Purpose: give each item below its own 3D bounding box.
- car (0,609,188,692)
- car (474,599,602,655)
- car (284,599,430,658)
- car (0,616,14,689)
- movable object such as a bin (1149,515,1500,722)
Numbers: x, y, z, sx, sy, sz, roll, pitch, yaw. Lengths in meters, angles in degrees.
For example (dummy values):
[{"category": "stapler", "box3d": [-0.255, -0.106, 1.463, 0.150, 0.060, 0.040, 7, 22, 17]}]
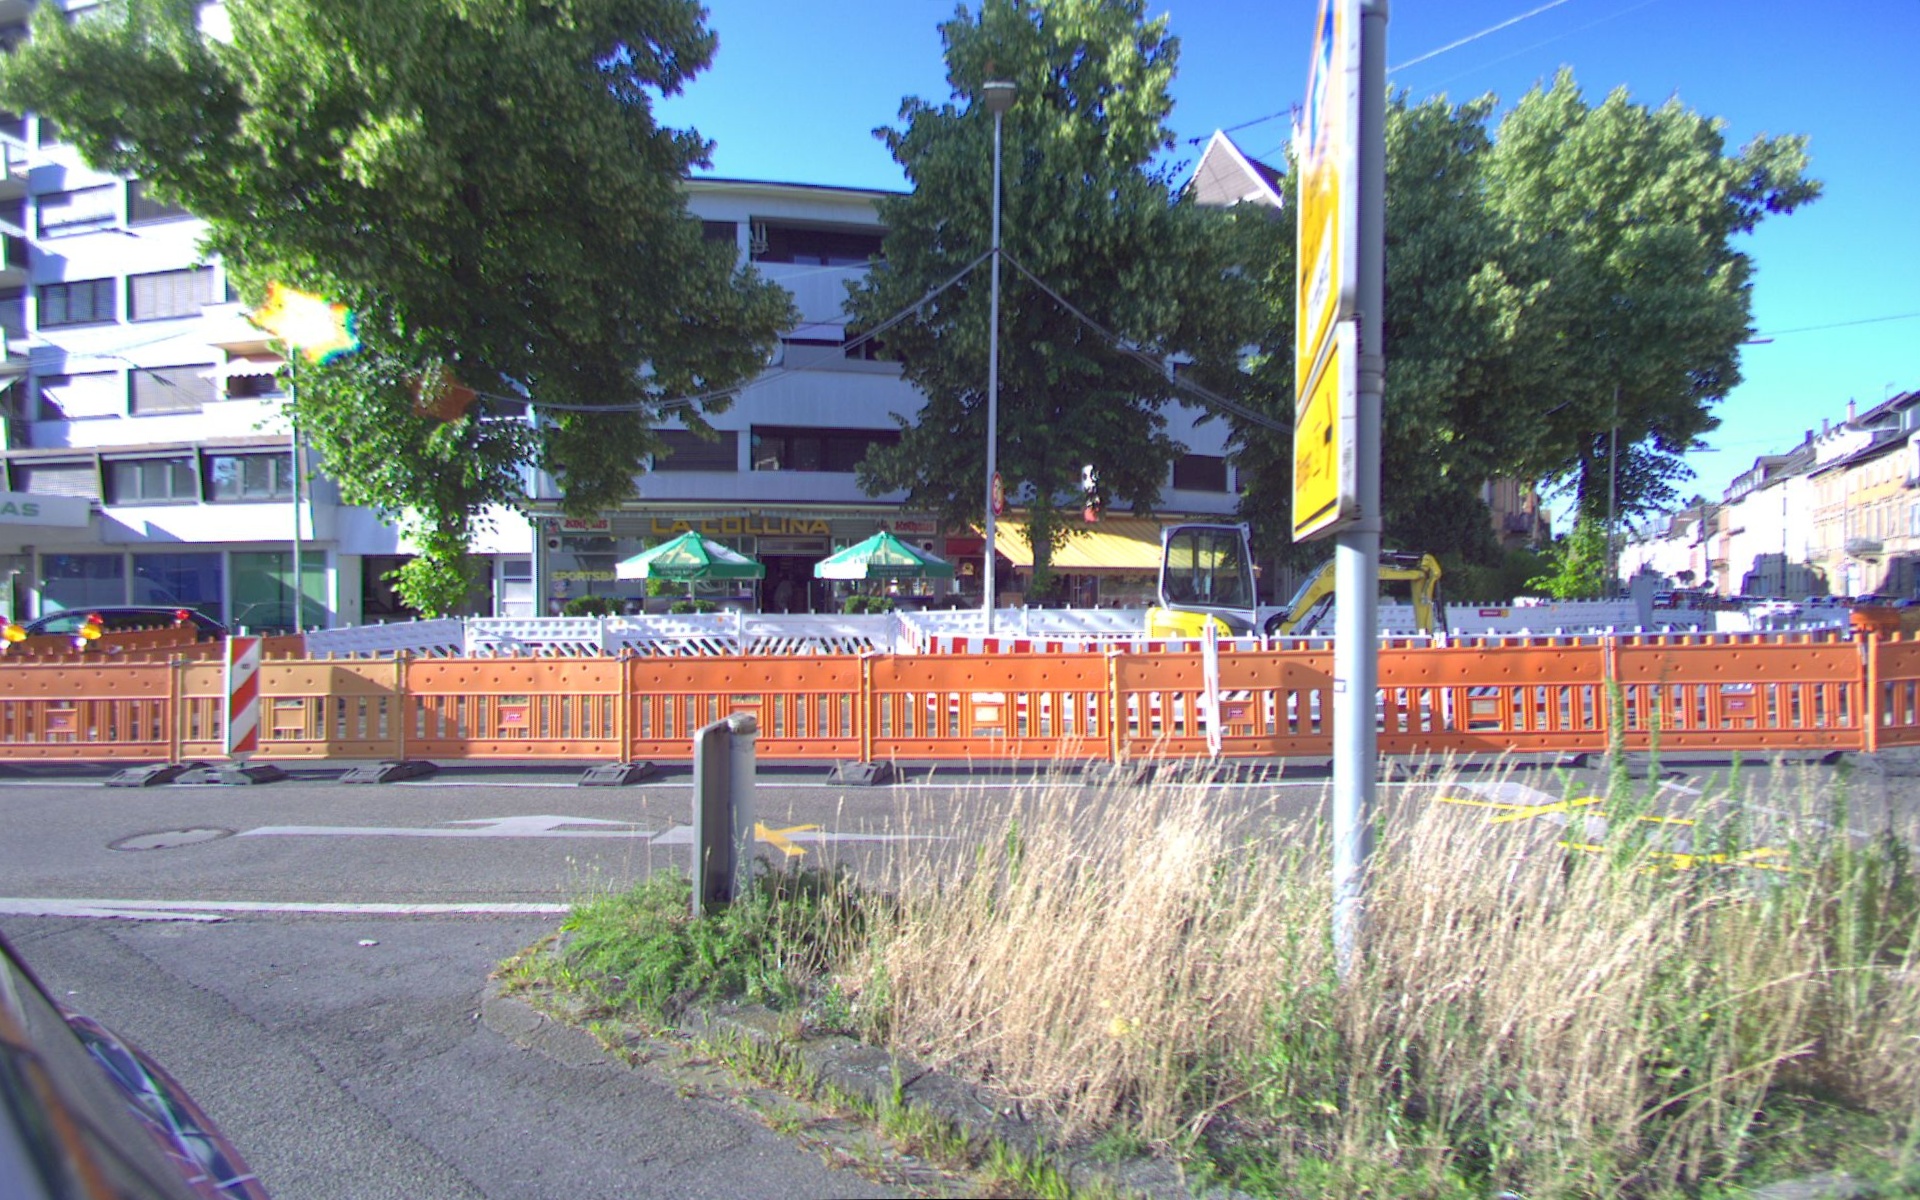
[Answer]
[{"category": "car", "box3d": [-16.868, 0.900, 18.703, 1.593, 1.449, 3.837, -1, -1, 35]}, {"category": "car", "box3d": [-13.203, 0.786, 31.886, 1.562, 1.620, 3.727, 0, 0, 23]}, {"category": "car", "box3d": [-18.037, 0.837, 30.319, 3.595, 1.686, 1.716, 0, -1, 13]}, {"category": "car", "box3d": [-20.942, 1.031, 18.806, 4.610, 1.449, 1.938, 0, -1, -33]}, {"category": "movable object such as a bin", "box3d": [4.364, 0.246, 12.693, 3.879, 2.342, 1.646, -1, -1, 11]}]
